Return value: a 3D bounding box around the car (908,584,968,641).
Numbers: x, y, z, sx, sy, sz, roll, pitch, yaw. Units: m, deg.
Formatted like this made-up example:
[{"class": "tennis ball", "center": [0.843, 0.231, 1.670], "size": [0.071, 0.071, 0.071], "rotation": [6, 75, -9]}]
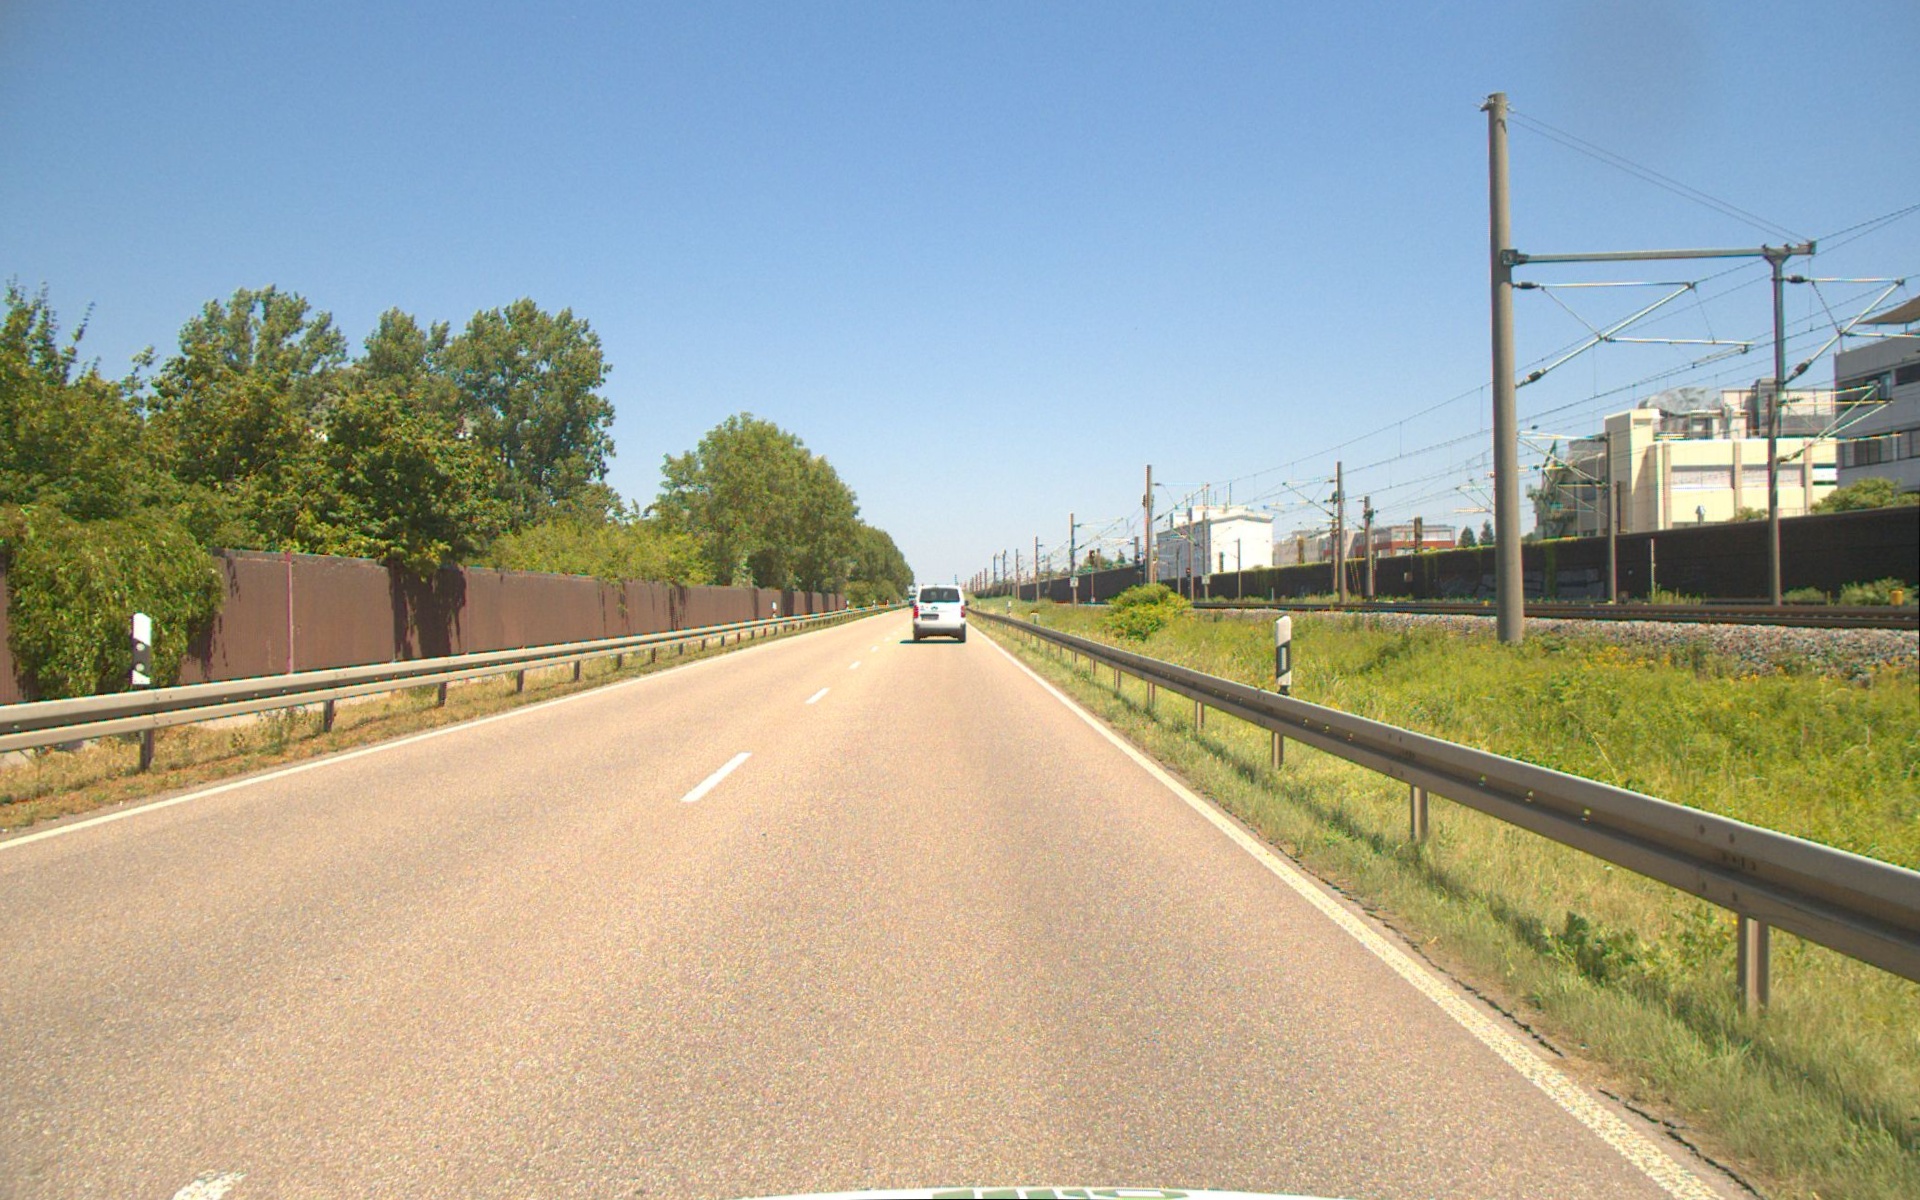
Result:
[{"class": "car", "center": [-0.767, 0.411, 57.546], "size": [1.953, 1.882, 3.999], "rotation": [1, 0, -1]}]
